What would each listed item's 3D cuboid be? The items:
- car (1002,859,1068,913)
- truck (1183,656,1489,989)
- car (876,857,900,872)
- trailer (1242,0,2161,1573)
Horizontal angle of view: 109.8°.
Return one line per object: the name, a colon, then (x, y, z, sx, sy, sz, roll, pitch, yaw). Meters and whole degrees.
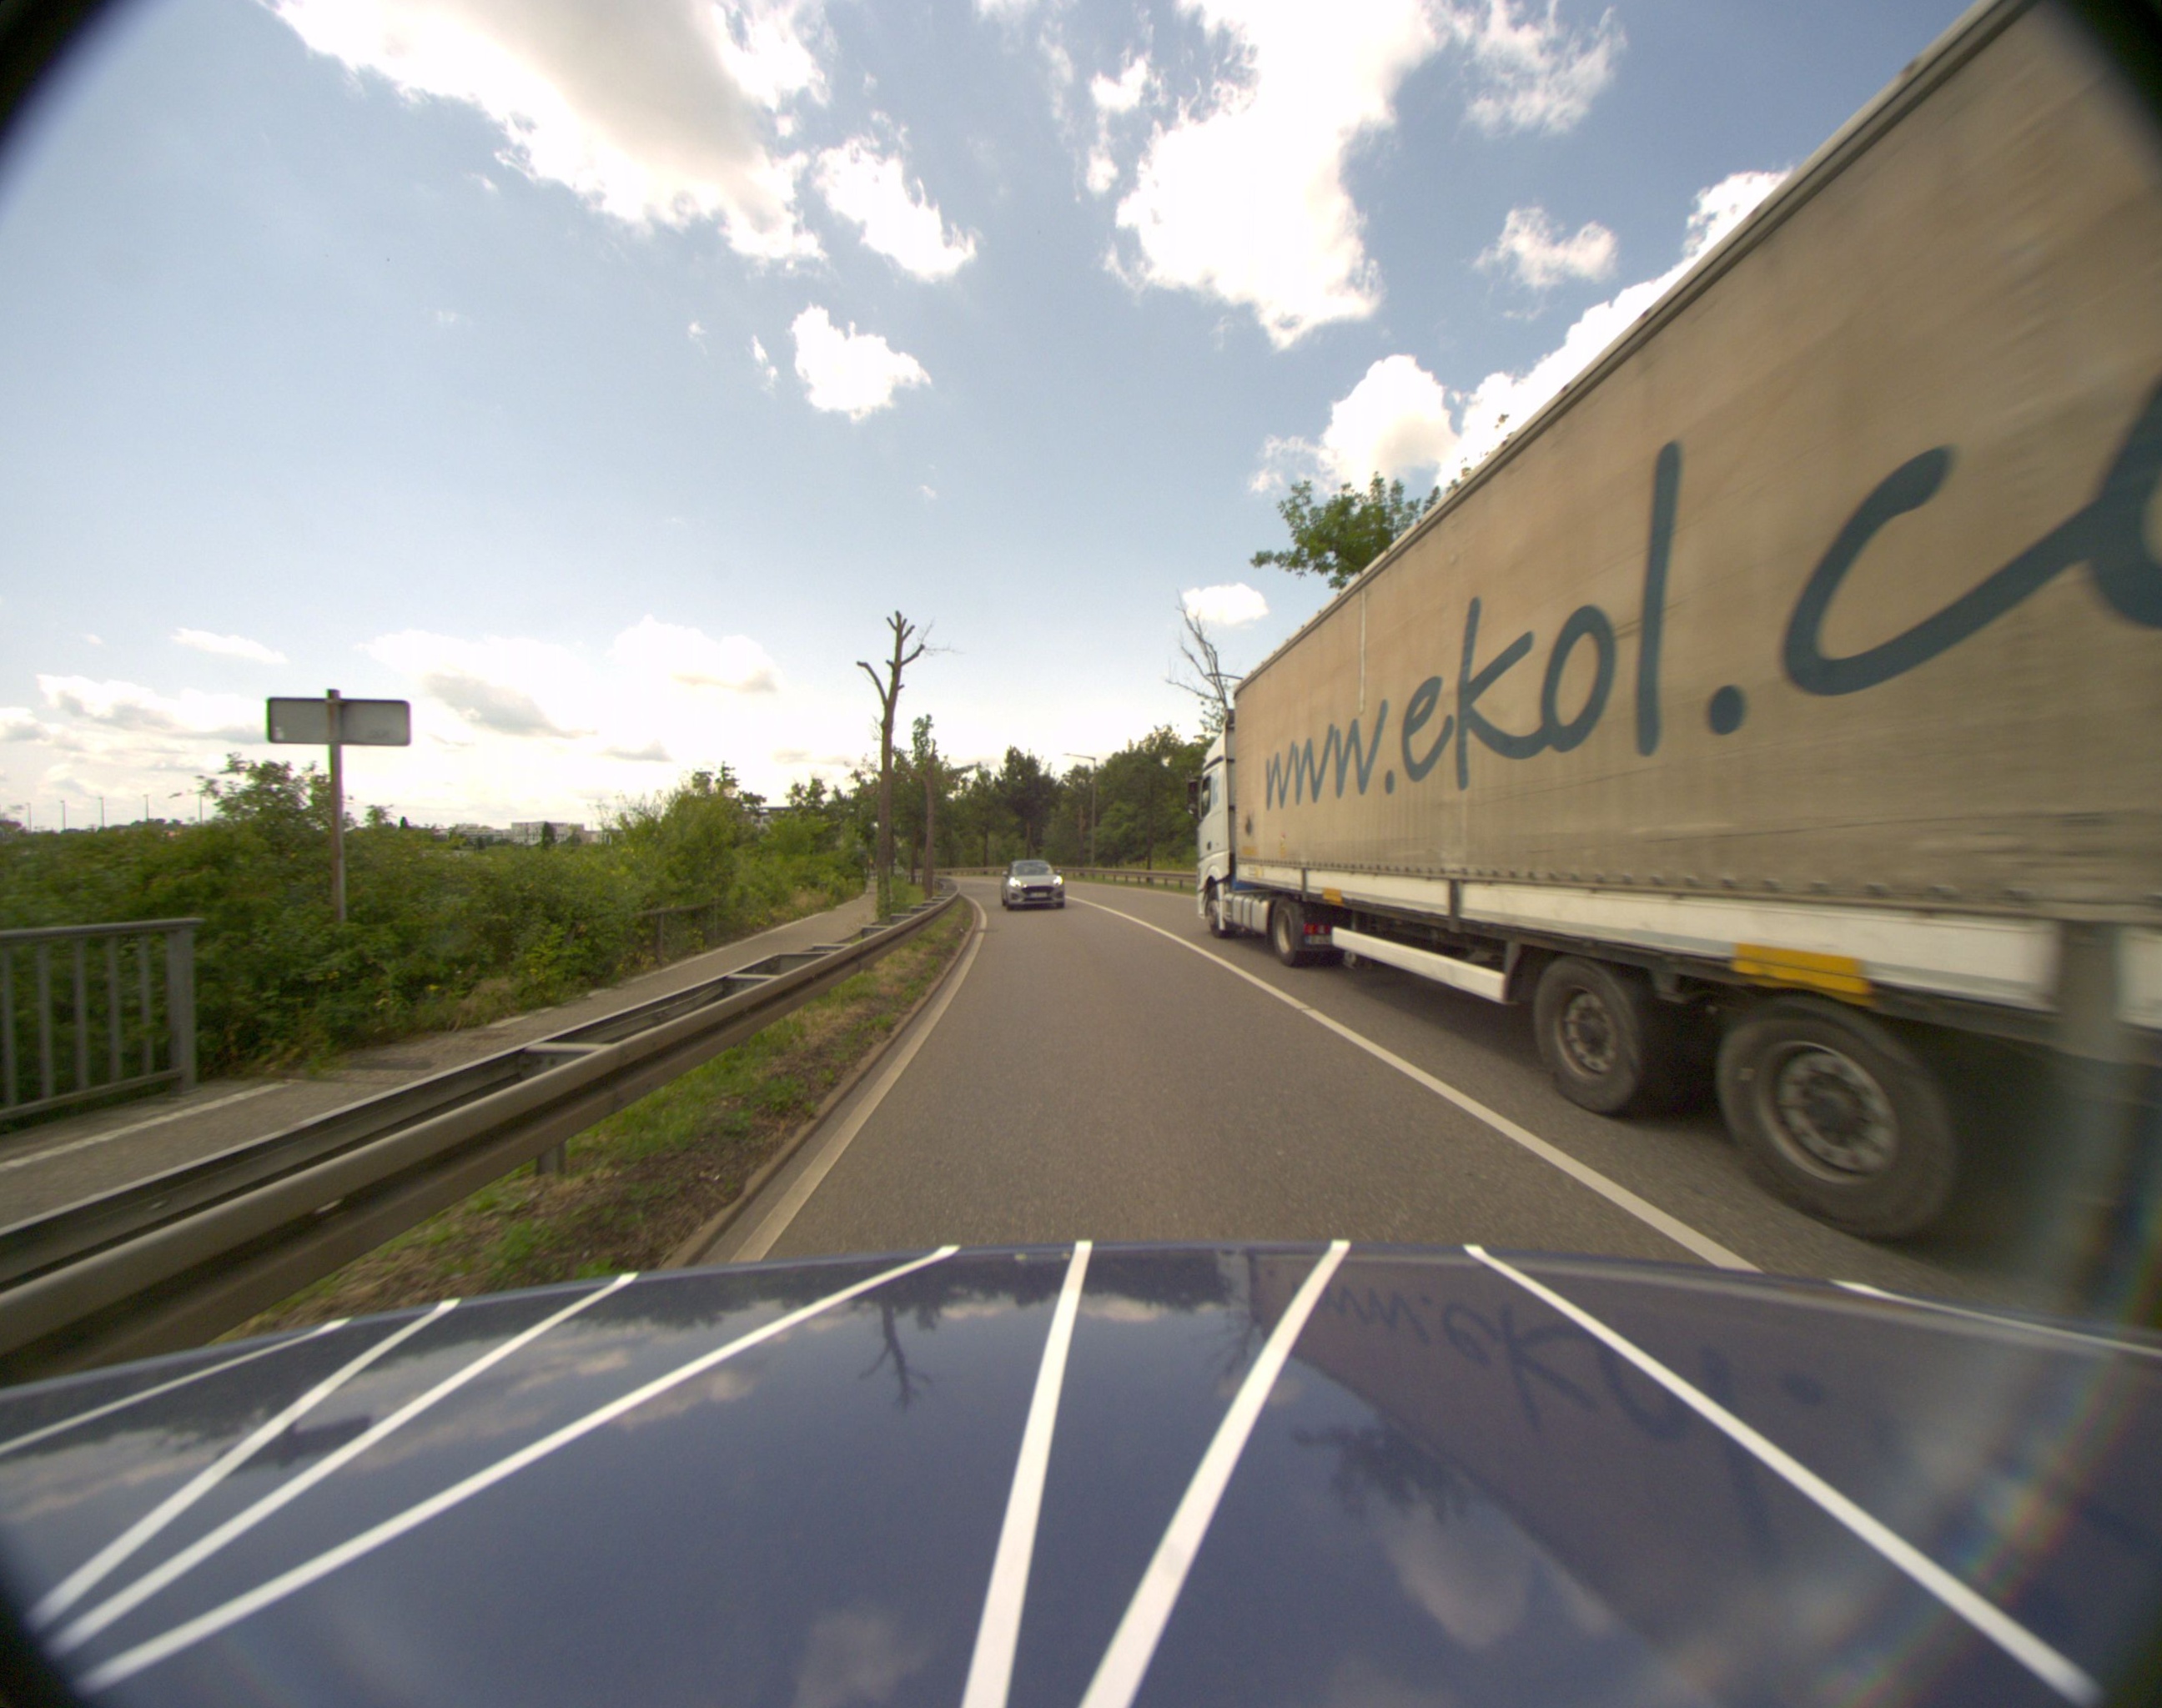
car: (-1.585, 0.967, 24.837, 1.829, 1.516, 3.997, -3, 0, -7)
truck: (3.644, -0.415, 12.490, 2.769, 4.111, 5.651, -3, 1, -3)
car: (-23.139, 1.253, 91.020, 1.861, 1.699, 4.303, -2, 1, -26)
trailer: (3.922, -0.412, 4.241, 2.713, 4.255, 14.229, -3, 0, -1)
